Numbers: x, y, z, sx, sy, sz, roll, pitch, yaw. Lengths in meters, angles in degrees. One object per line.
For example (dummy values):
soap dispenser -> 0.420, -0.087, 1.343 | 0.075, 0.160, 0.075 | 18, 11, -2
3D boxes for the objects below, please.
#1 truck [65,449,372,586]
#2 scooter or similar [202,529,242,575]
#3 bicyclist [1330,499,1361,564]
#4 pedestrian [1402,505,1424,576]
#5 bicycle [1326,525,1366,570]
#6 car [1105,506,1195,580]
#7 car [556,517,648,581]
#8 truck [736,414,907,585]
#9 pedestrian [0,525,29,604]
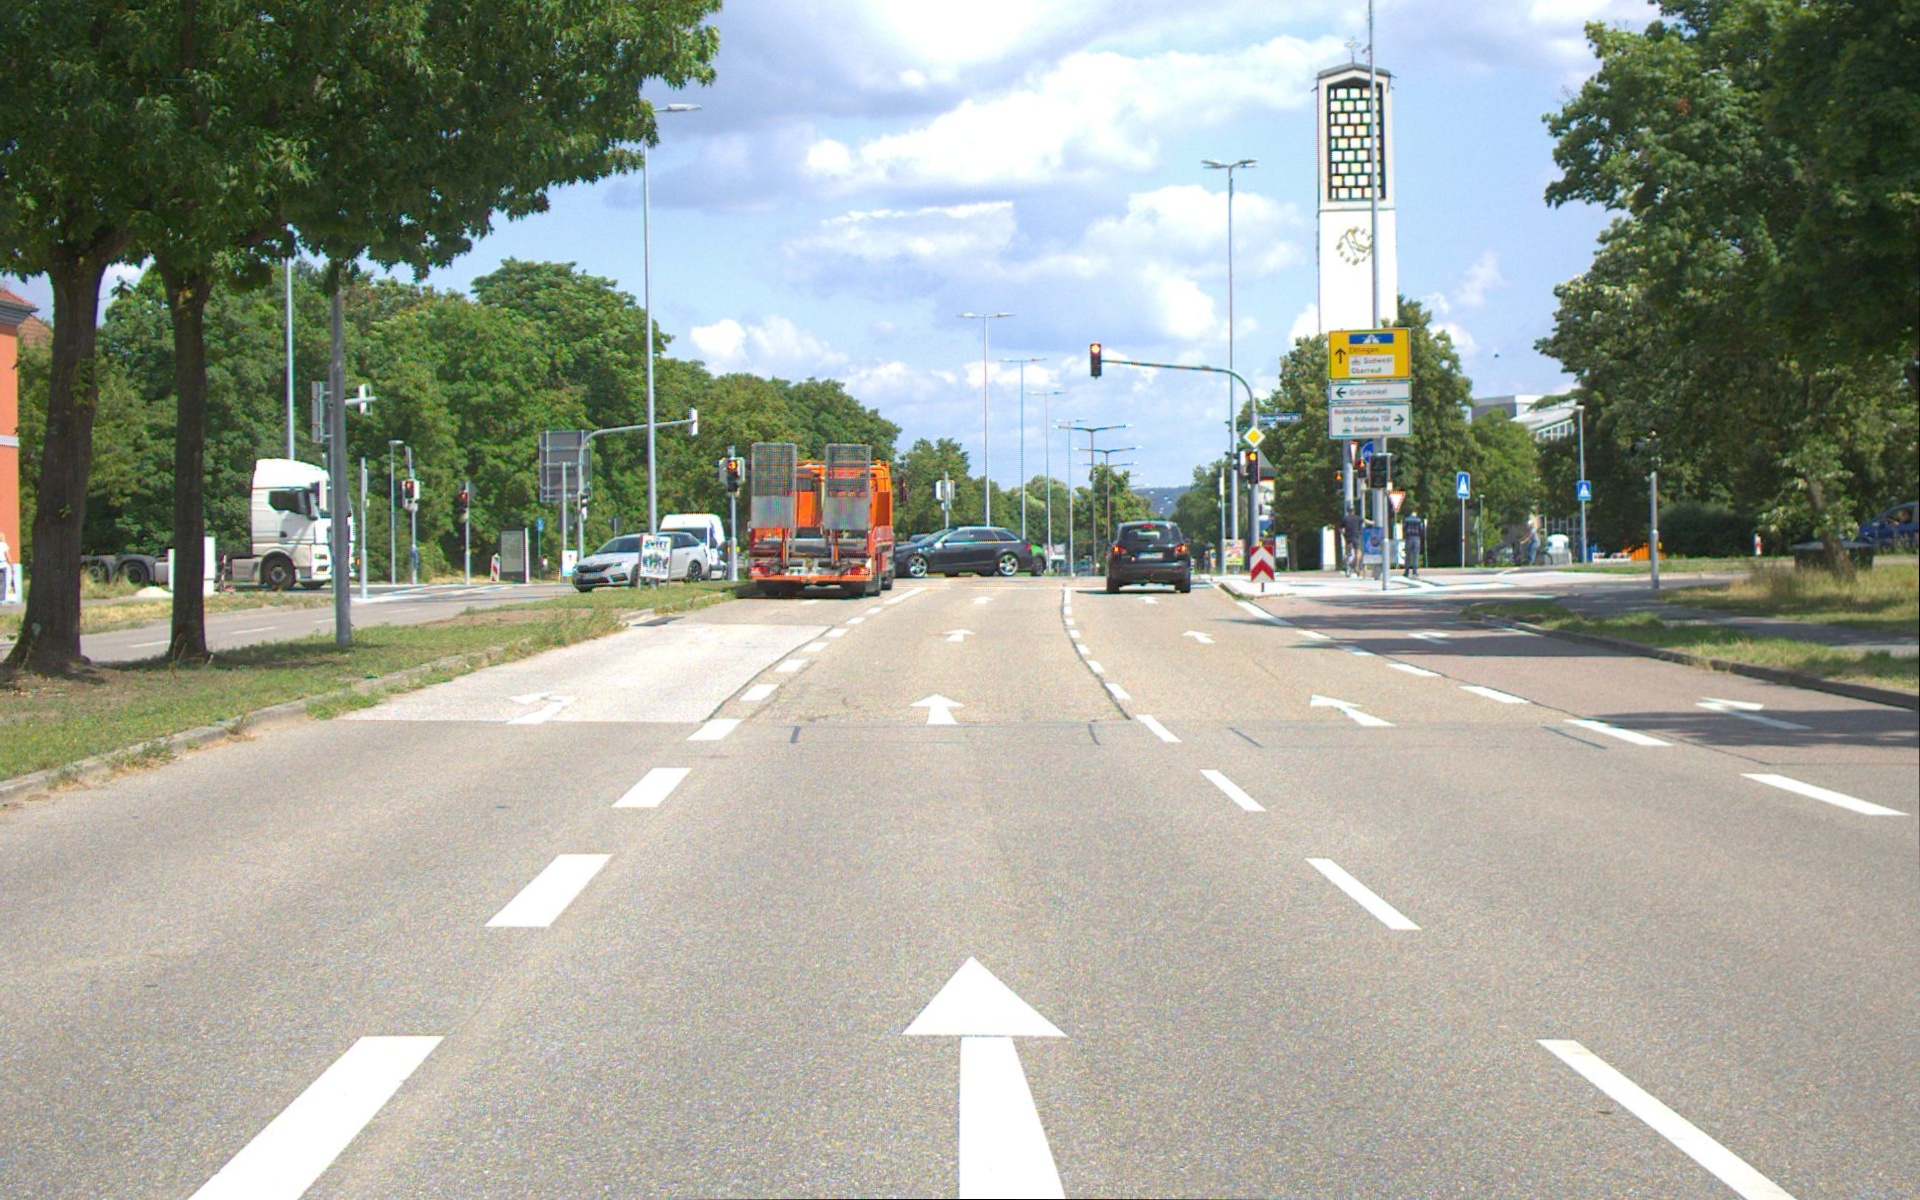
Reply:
truck -> -22.366, -2.491, 103.728 | 8.617, 3.957, 2.966 | 1, 0, 17
scooter or similar -> -18.750, -1.211, 87.399 | 0.589, 1.159, 1.762 | 1, 0, 0
bicyclist -> 9.858, -1.751, 87.905 | 0.648, 1.655, 0.649 | 1, 0, 17
pedestrian -> 11.451, -1.496, 86.902 | 0.465, 1.772, 0.482 | 1, 0, 12
bicycle -> 9.904, -1.341, 88.095 | 0.648, 1.104, 1.926 | 1, 0, 17
car -> 4.160, -1.246, 75.846 | 1.799, 1.547, 4.000 | 1, 0, 1
car -> -9.221, -1.307, 88.756 | 1.732, 1.503, 4.652 | -4, 0, 1
truck -> -2.904, -2.094, 75.462 | 3.071, 3.402, 11.068 | 1, 0, 1
pedestrian -> -19.417, -0.725, 69.904 | 0.696, 1.578, 0.851 | 1, 0, 1
